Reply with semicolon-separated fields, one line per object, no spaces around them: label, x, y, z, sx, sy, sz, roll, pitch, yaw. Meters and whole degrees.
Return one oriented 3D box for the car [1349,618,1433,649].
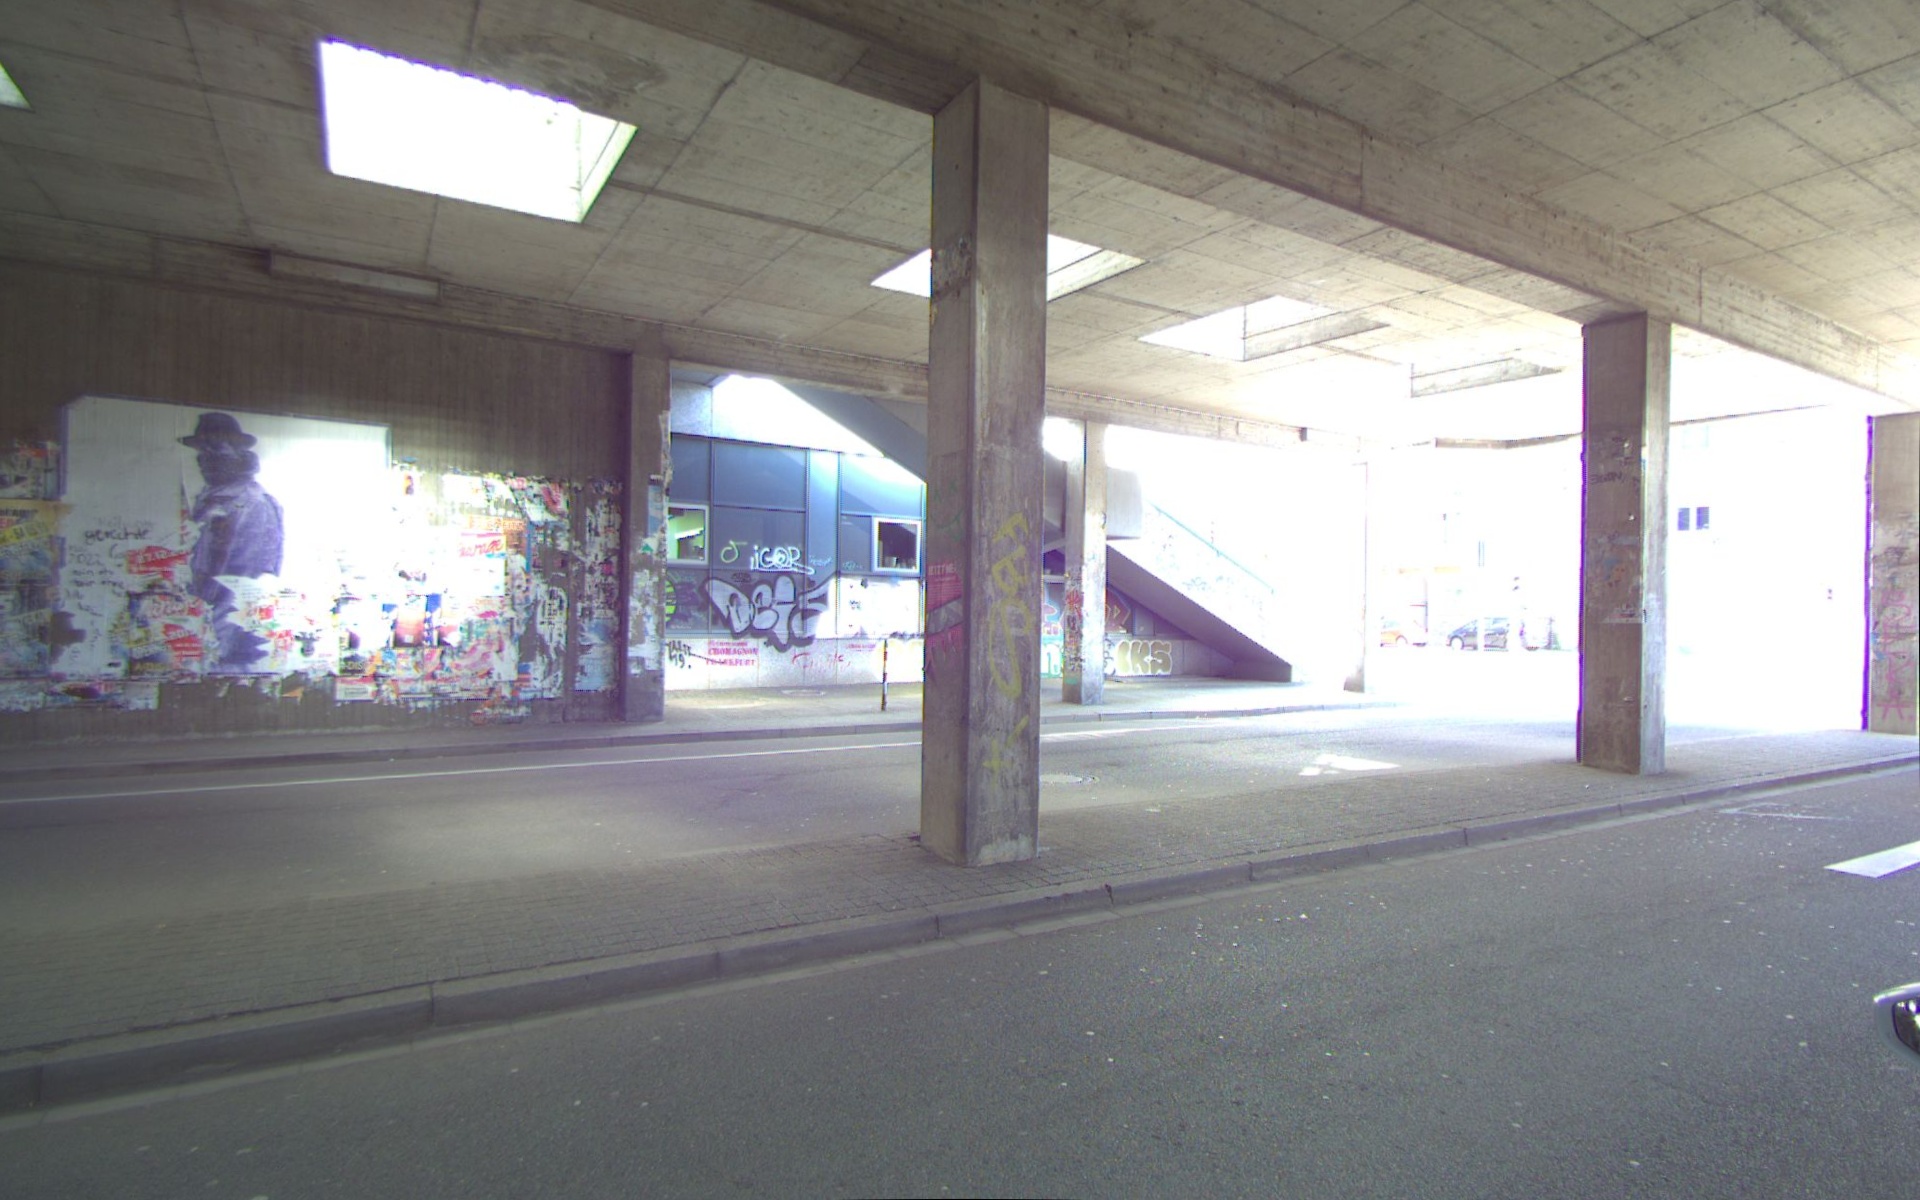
car;22.547;1.726;52.603;1.730;1.495;3.741;2;-1;-31

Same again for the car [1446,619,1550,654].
car;25.459;1.709;47.648;1.718;1.495;4.089;2;-1;-31
